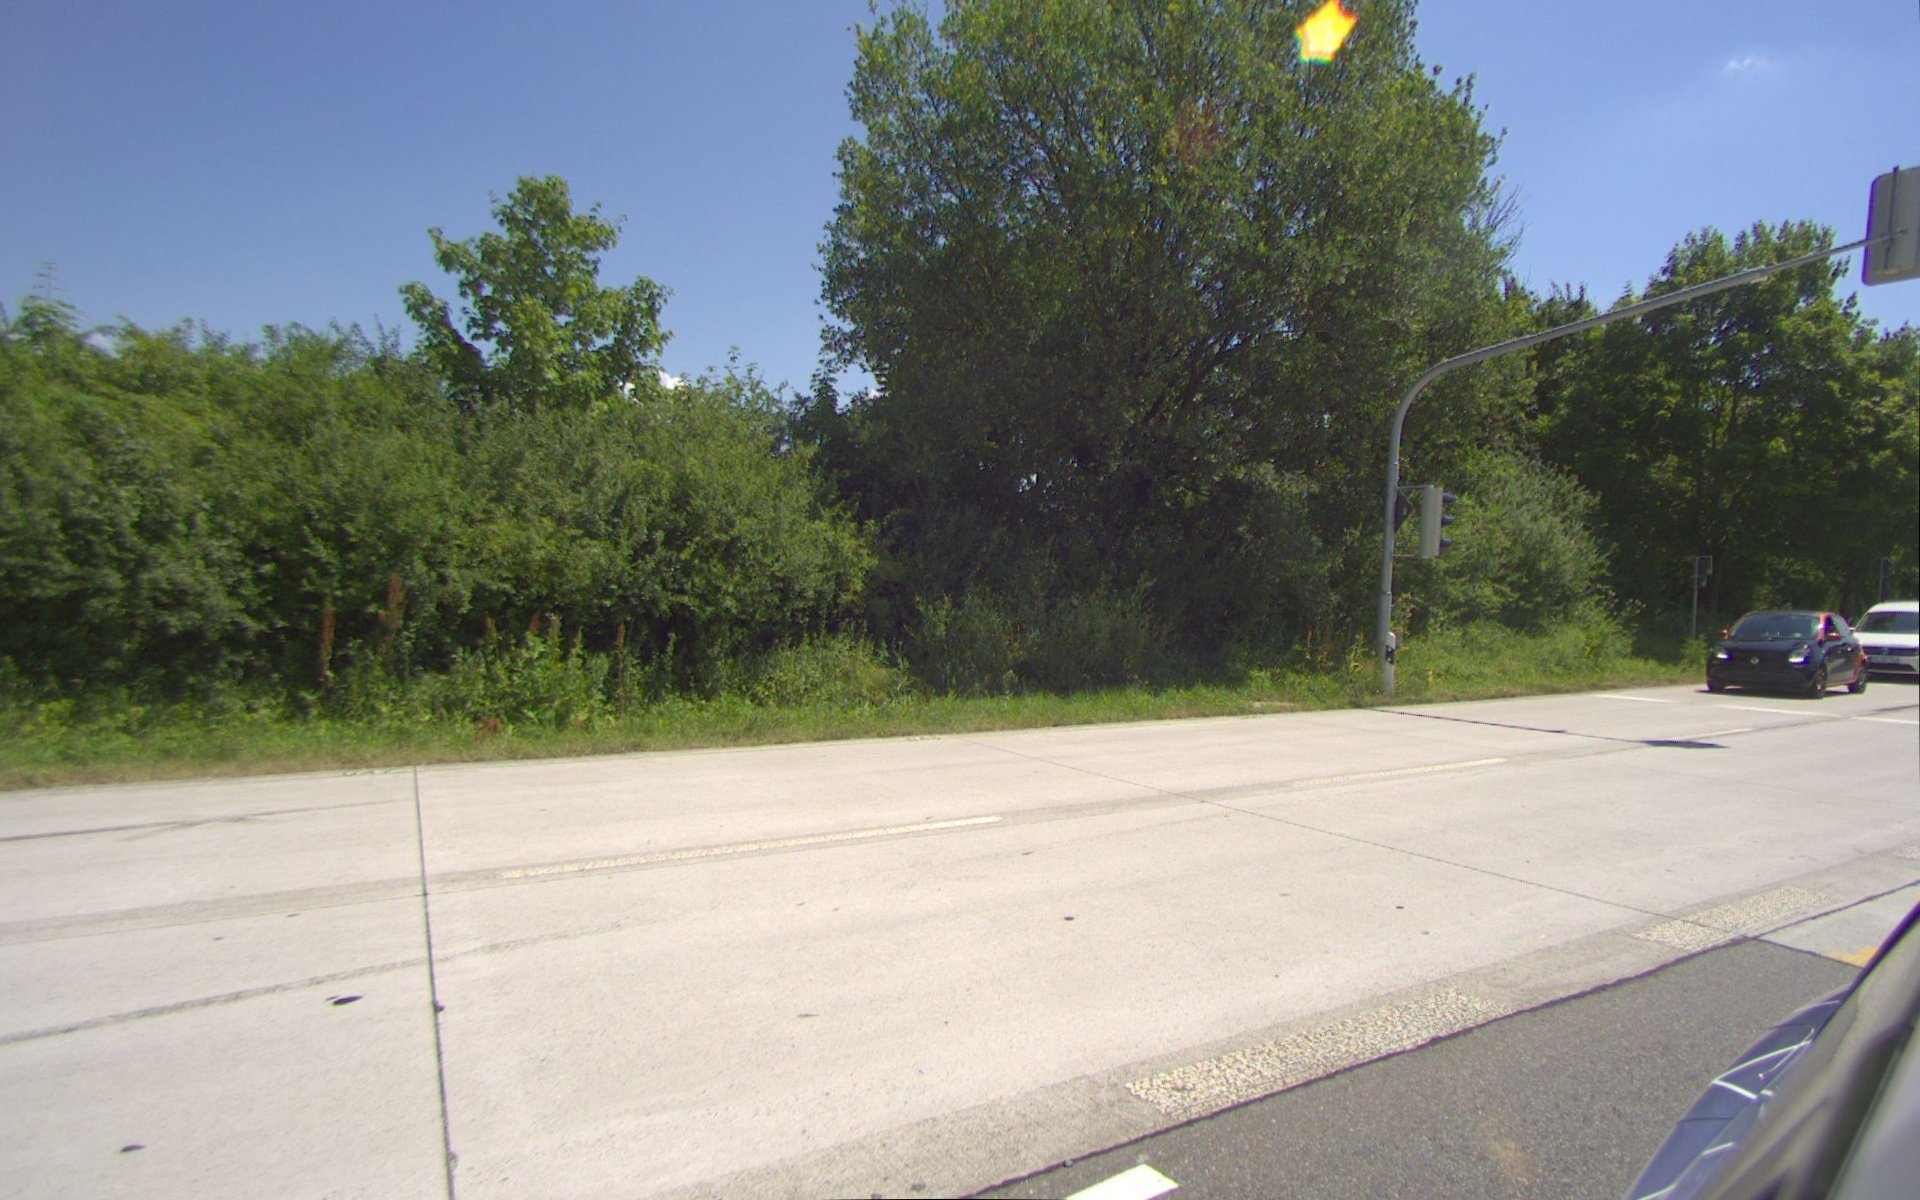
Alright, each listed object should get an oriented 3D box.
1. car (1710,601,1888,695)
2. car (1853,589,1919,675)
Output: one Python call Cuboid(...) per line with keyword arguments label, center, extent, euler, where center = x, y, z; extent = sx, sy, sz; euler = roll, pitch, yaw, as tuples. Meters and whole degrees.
Cuboid(label="car", center=(15.647, 0.806, 18.838), extent=(3.583, 1.528, 1.773), euler=(0, 1, -37))
Cuboid(label="car", center=(22.259, 0.680, 23.272), extent=(4.705, 1.830, 1.772), euler=(0, 1, -38))
